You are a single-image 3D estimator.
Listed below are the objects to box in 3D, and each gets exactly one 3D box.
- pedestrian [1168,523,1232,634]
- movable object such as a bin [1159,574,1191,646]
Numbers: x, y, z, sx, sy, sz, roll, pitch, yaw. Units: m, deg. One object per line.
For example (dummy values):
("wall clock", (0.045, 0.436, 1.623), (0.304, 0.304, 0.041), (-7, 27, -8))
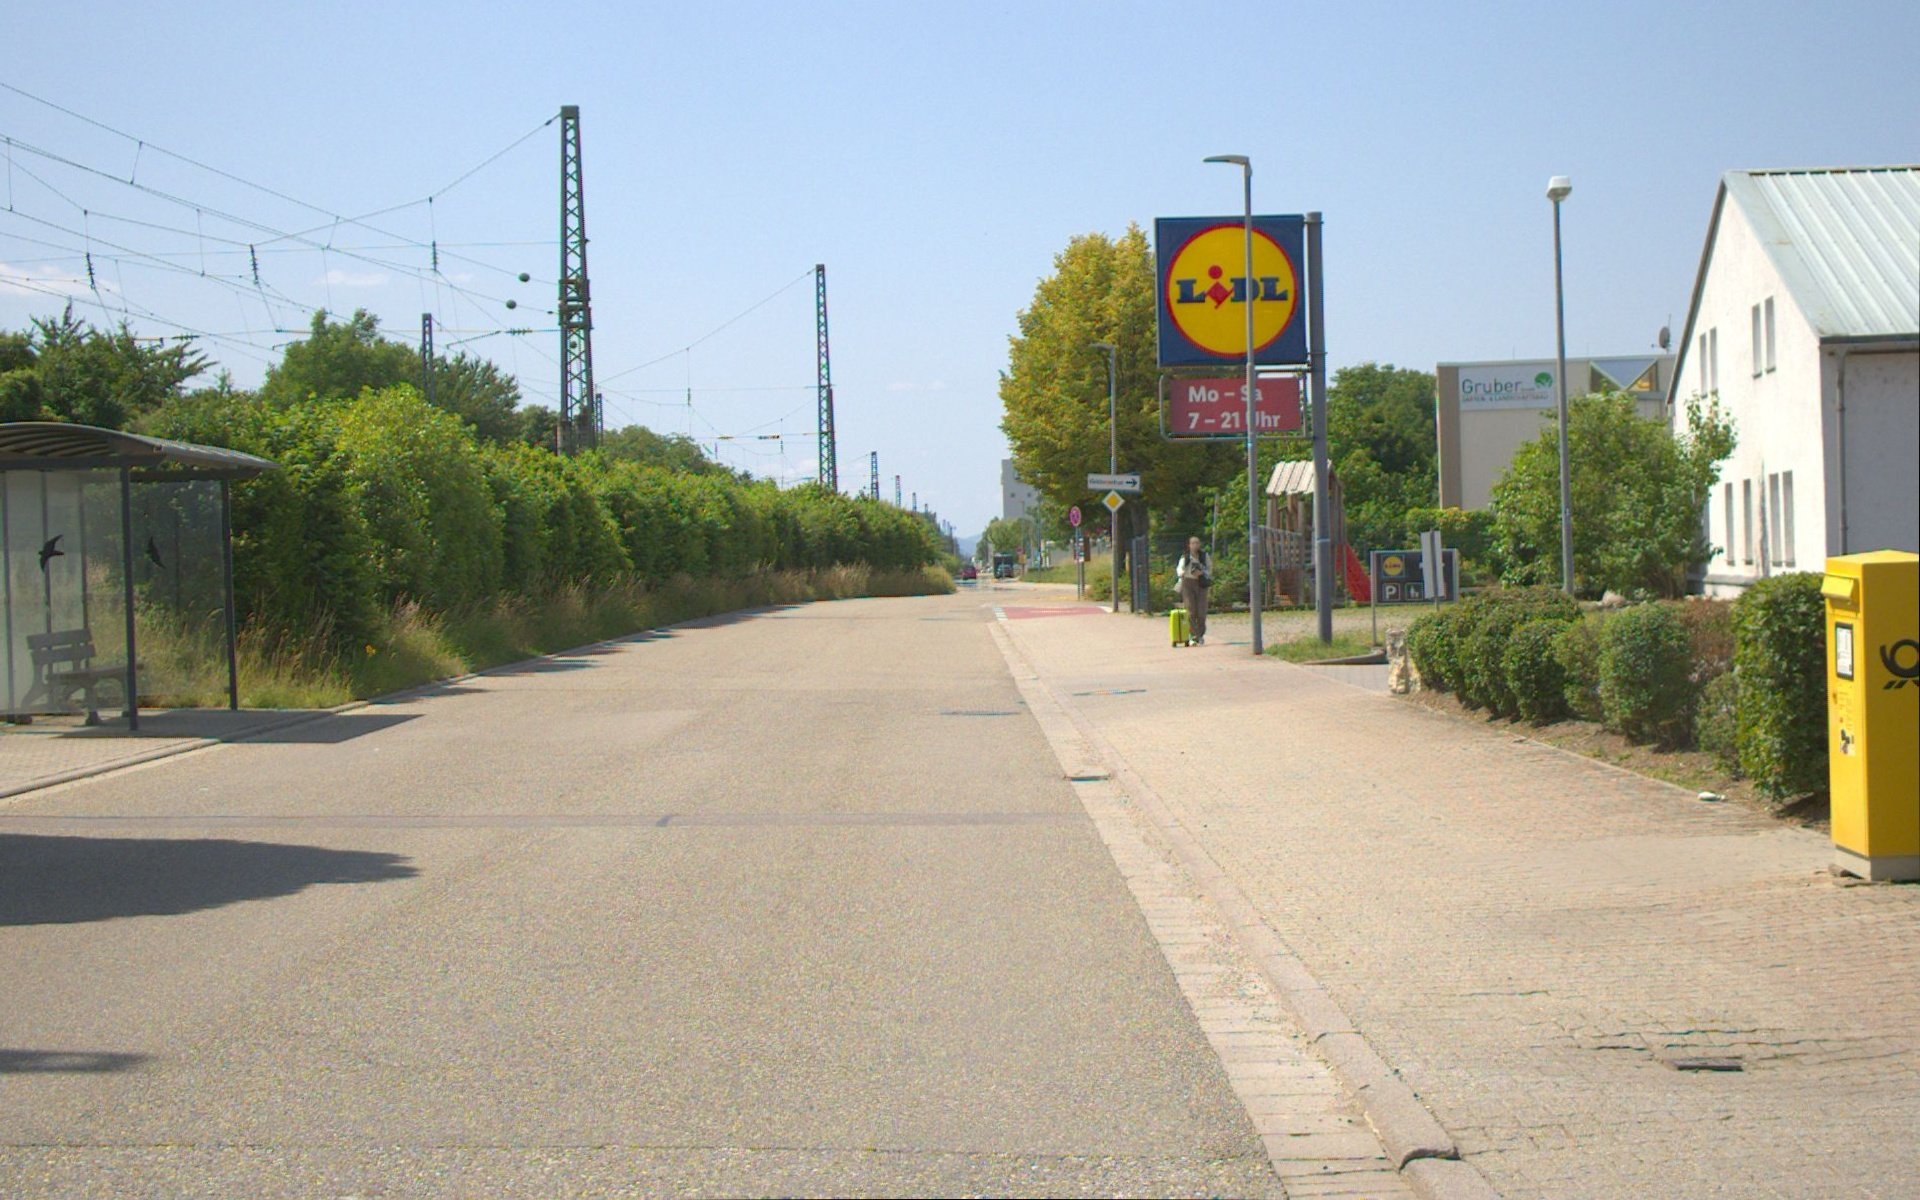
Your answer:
("pedestrian", (3.512, -0.319, 50.374), (0.761, 1.596, 1.210), (-1, 1, -3))
("movable object such as a bin", (3.128, 0.139, 49.935), (0.374, 1.026, 0.499), (-2, 1, -4))
